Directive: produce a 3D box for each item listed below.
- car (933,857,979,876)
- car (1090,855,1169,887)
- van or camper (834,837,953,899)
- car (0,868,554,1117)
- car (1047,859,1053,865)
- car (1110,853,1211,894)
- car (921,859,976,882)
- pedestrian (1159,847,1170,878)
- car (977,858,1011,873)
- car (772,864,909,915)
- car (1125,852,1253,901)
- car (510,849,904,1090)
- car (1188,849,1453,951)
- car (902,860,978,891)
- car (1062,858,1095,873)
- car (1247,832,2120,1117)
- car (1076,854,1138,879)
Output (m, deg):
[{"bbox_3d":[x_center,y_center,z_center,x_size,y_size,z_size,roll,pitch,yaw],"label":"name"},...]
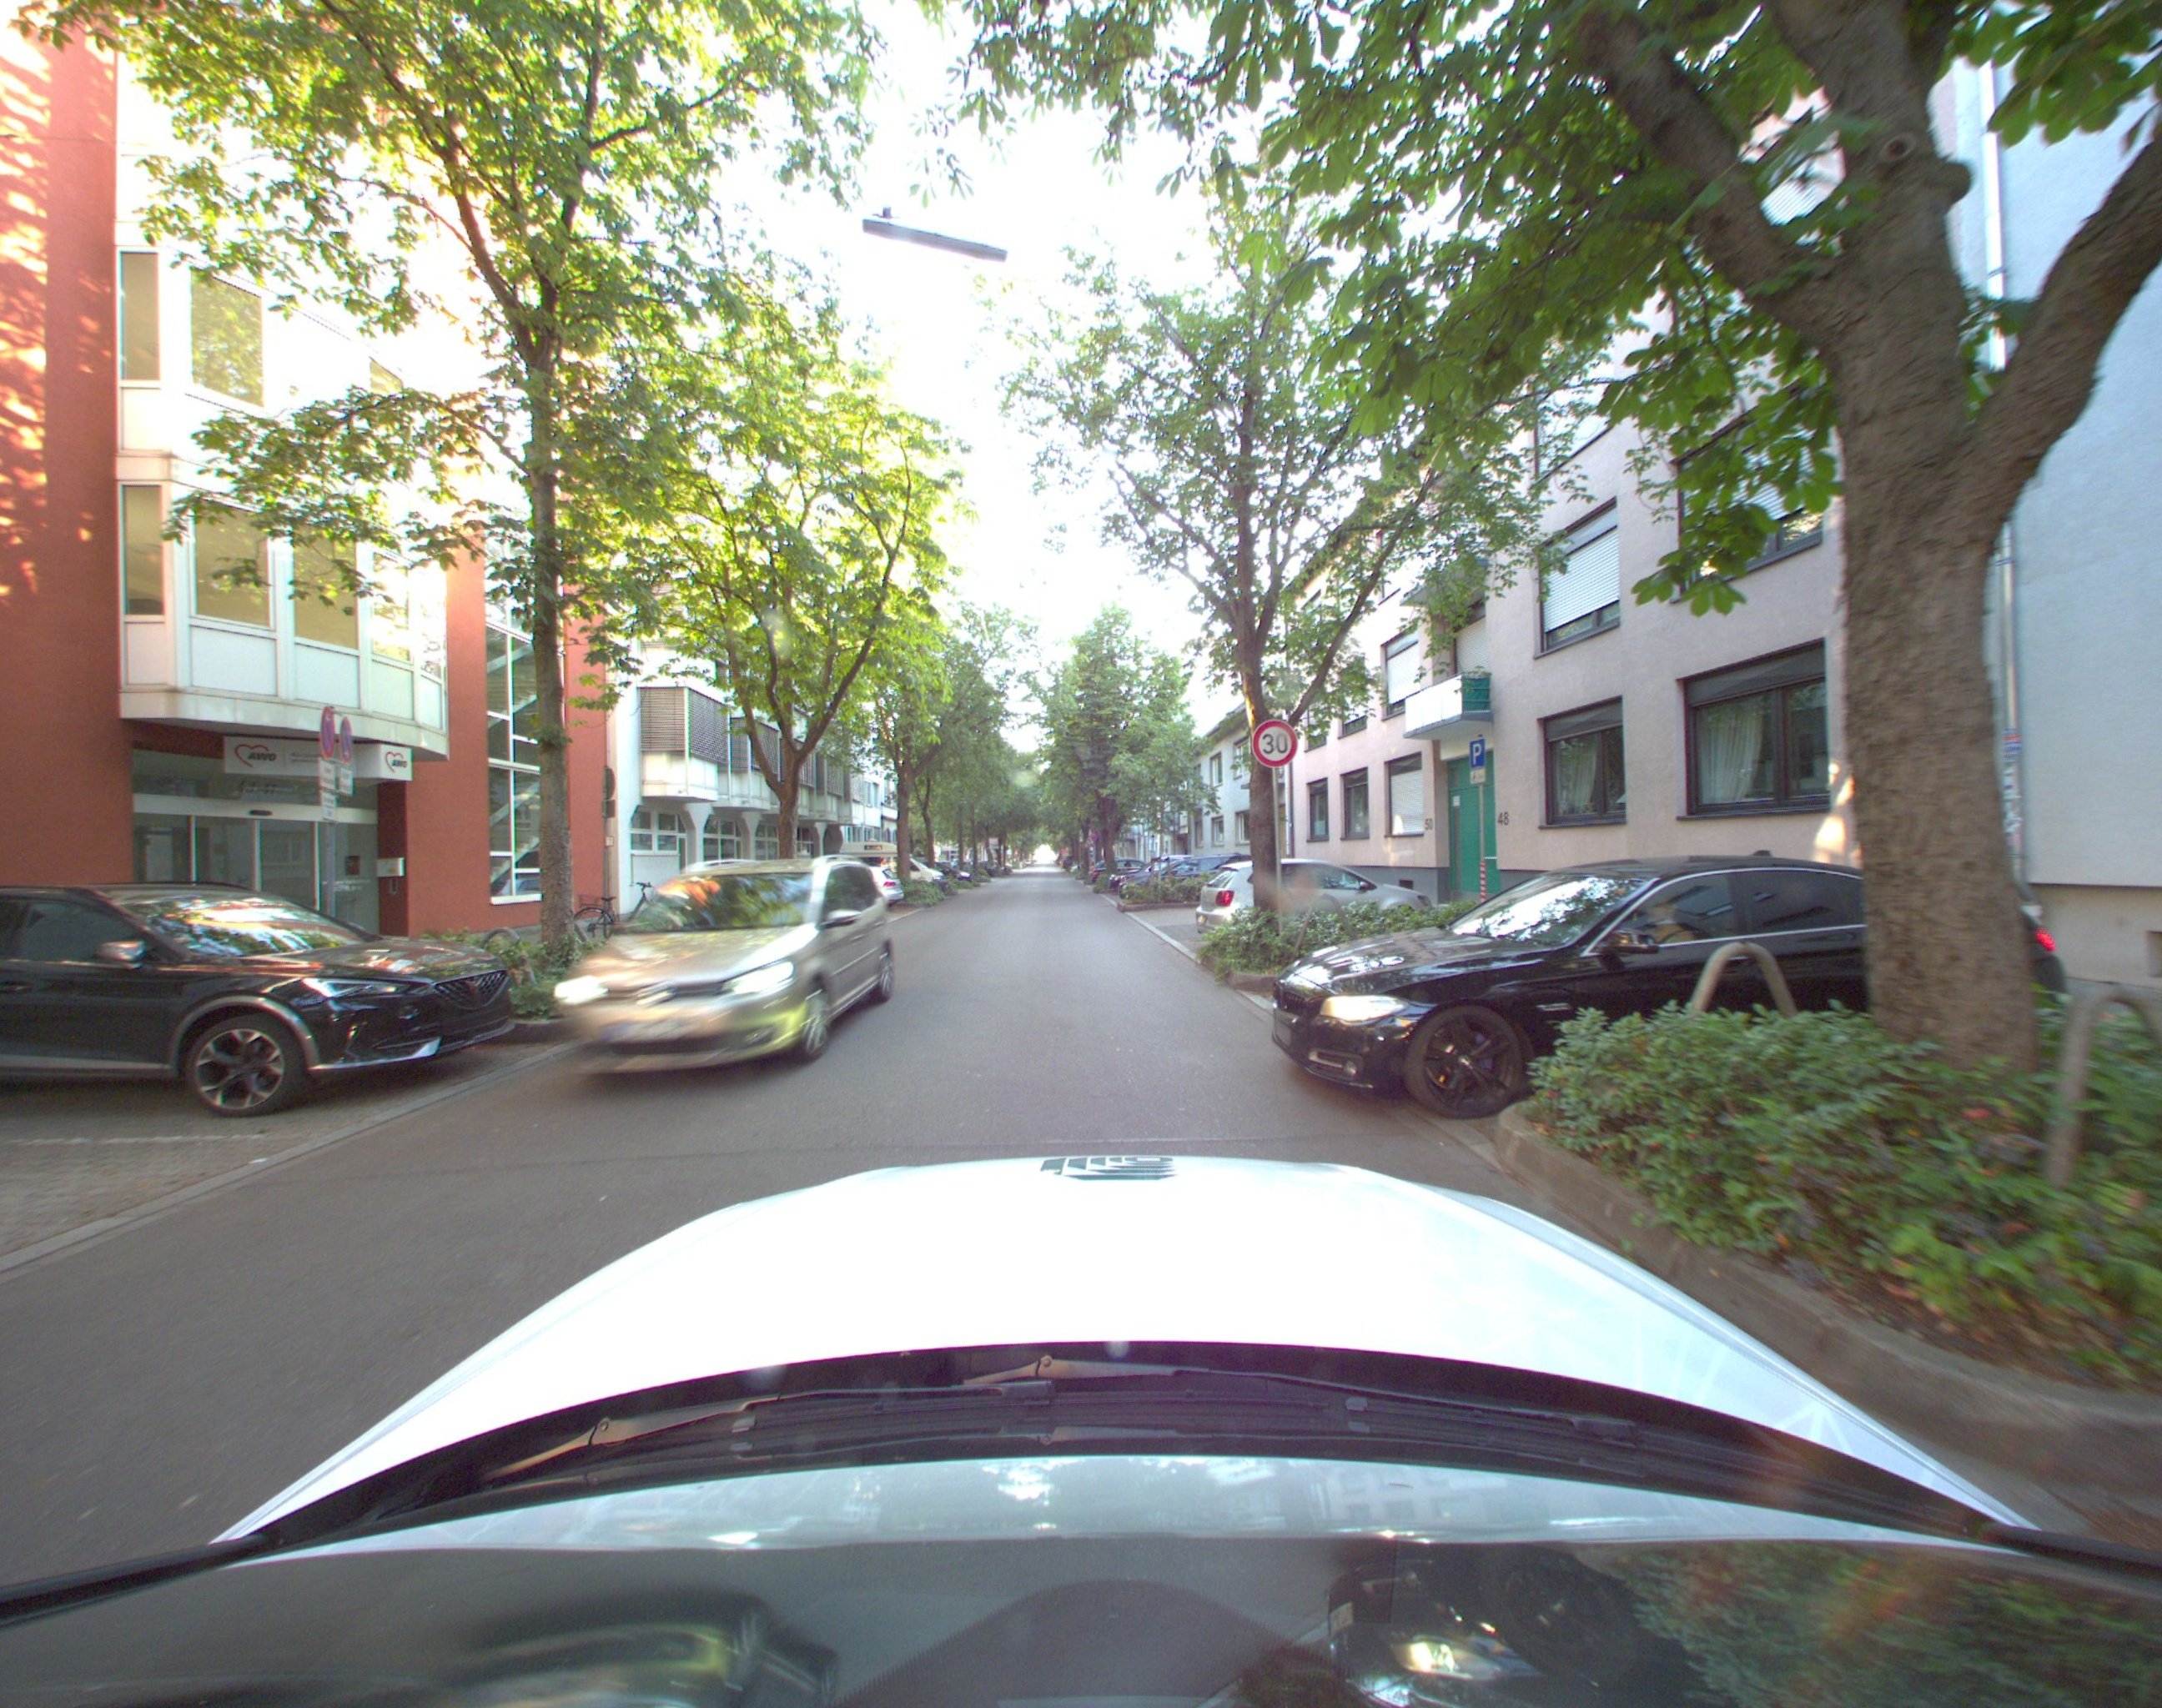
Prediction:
[{"bbox_3d":[-11.443,1.126,74.745,3.957,1.619,1.784,-2,0,-2],"label":"car"},{"bbox_3d":[2.493,0.888,42.699,3.959,1.527,1.783,-2,0,-3],"label":"car"},{"bbox_3d":[-8.067,0.597,35.392,4.653,2.478,1.998,-1,0,-3],"label":"van or camper"},{"bbox_3d":[-6.797,0.937,6.166,4.344,1.517,1.783,-2,0,-3],"label":"car"},{"bbox_3d":[-8.994,2.371,238.205,1.817,1.531,3.997,0,-1,-2],"label":"car"},{"bbox_3d":[3.248,0.780,33.821,3.959,1.527,1.783,-2,0,-3],"label":"car"},{"bbox_3d":[-10.225,1.282,63.047,3.957,1.619,1.784,-2,0,-2],"label":"car"},{"bbox_3d":[5.508,0.583,53.695,0.587,2.014,0.669,-1,0,-1],"label":"pedestrian"},{"bbox_3d":[-10.682,1.419,100.534,3.957,1.619,1.784,-2,0,-2],"label":"car"},{"bbox_3d":[-7.907,1.139,27.040,3.957,1.517,1.784,-2,0,-2],"label":"car"},{"bbox_3d":[3.572,0.723,27.299,3.961,1.476,1.782,-2,0,-5],"label":"car"},{"bbox_3d":[-2.949,0.775,7.538,1.774,1.562,4.165,-1,0,-2],"label":"car"},{"bbox_3d":[3.906,0.715,13.649,3.902,1.476,1.662,-2,0,-5],"label":"car"},{"bbox_3d":[-7.991,1.197,46.403,3.957,1.619,1.784,-2,0,-2],"label":"car"},{"bbox_3d":[-0.329,1.406,98.833,3.957,1.684,1.784,-2,0,-2],"label":"car"},{"bbox_3d":[3.705,0.671,5.577,4.734,1.480,1.798,-1,0,-3],"label":"car"},{"bbox_3d":[1.710,0.848,54.645,3.960,1.527,1.782,-2,0,-4],"label":"car"}]
